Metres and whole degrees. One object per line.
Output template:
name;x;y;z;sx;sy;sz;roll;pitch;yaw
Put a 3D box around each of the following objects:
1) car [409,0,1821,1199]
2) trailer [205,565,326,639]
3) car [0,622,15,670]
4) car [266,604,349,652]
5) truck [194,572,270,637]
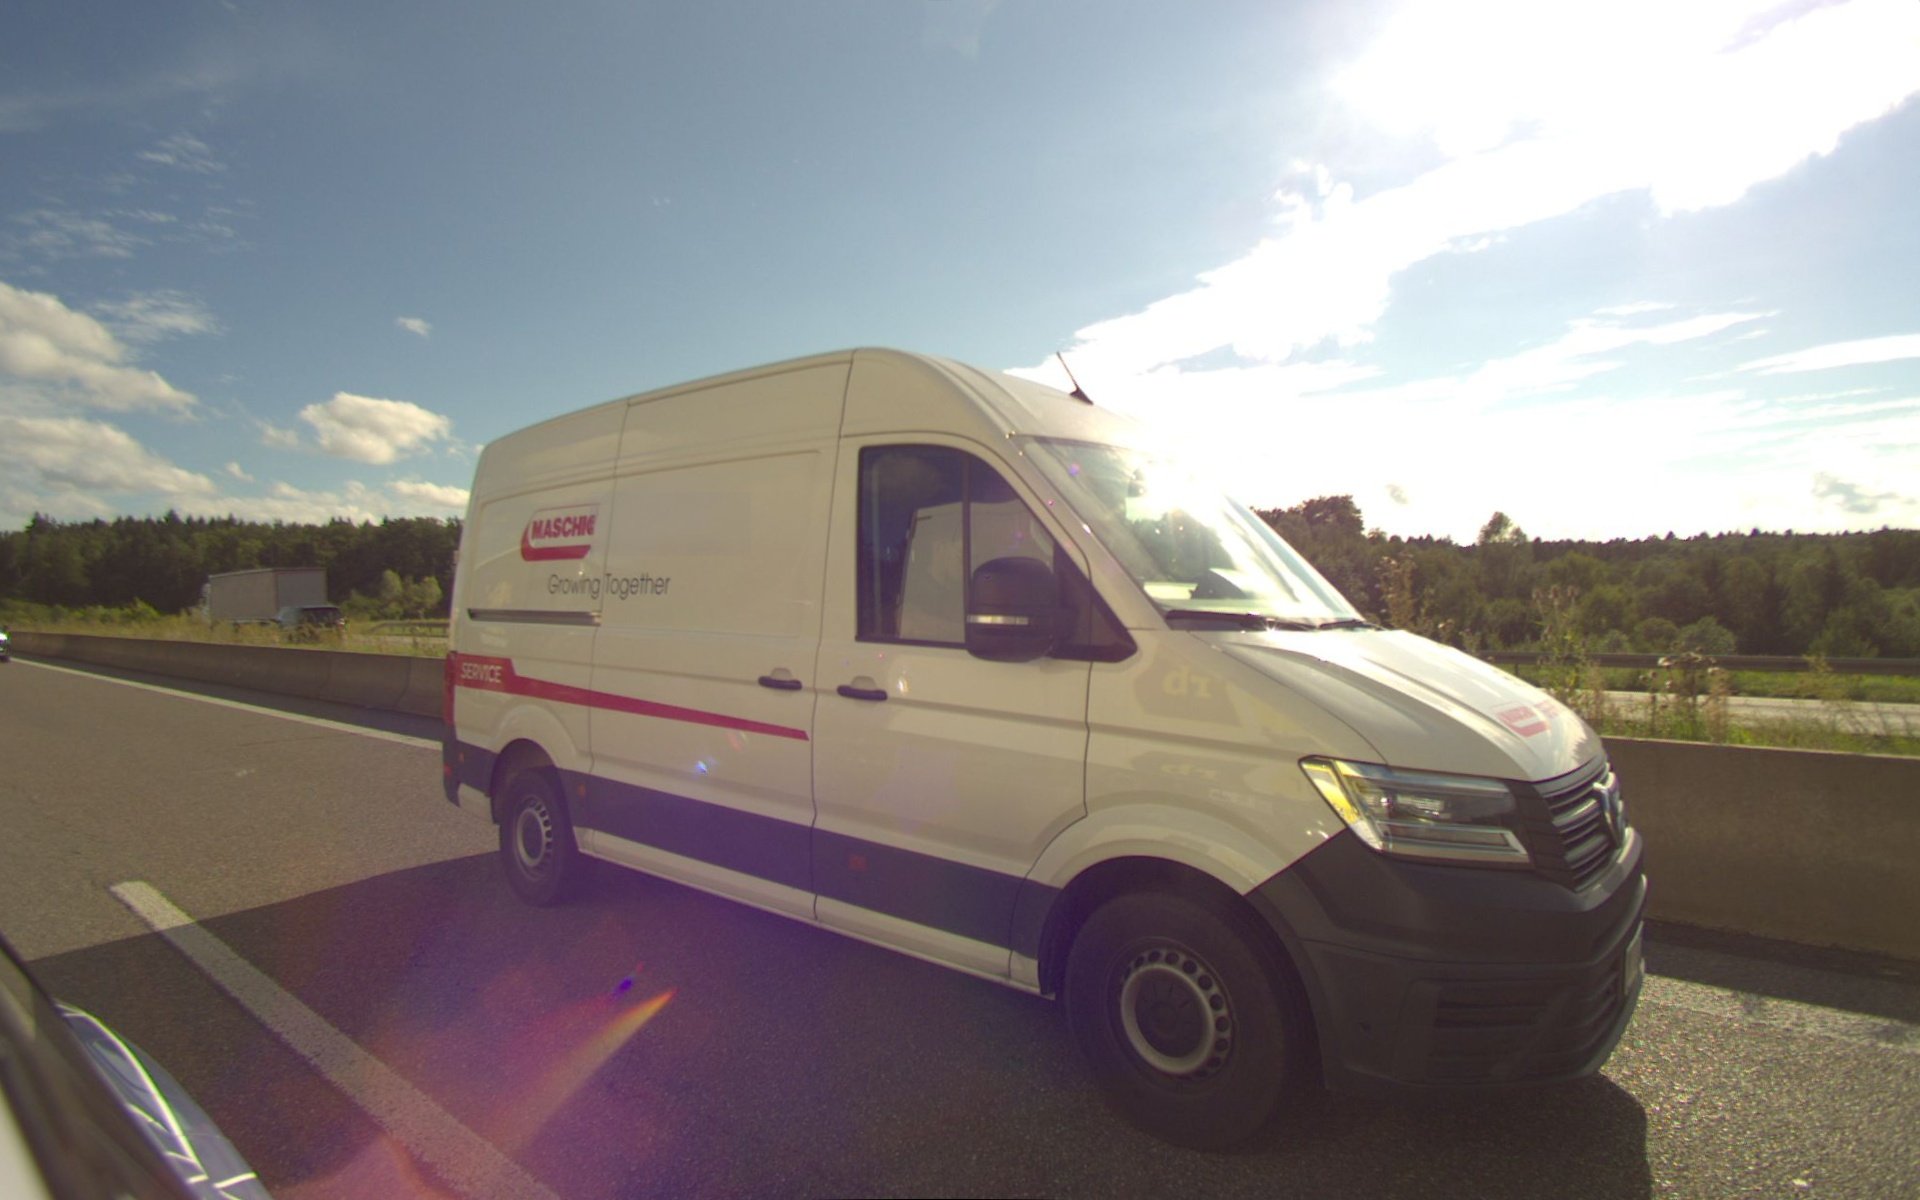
car;-0.184;0.191;4.616;6.177;2.619;1.994;-2;-3;40
trailer;-42.129;0.211;61.093;13.543;4.022;2.802;-1;-1;41
car;-32.525;1.486;33.247;4.157;1.554;1.755;-1;-2;42
car;-28.424;1.195;44.016;4.488;1.890;1.859;-1;1;42
truck;-47.319;0.312;65.728;5.831;4.006;2.790;-1;-1;42
